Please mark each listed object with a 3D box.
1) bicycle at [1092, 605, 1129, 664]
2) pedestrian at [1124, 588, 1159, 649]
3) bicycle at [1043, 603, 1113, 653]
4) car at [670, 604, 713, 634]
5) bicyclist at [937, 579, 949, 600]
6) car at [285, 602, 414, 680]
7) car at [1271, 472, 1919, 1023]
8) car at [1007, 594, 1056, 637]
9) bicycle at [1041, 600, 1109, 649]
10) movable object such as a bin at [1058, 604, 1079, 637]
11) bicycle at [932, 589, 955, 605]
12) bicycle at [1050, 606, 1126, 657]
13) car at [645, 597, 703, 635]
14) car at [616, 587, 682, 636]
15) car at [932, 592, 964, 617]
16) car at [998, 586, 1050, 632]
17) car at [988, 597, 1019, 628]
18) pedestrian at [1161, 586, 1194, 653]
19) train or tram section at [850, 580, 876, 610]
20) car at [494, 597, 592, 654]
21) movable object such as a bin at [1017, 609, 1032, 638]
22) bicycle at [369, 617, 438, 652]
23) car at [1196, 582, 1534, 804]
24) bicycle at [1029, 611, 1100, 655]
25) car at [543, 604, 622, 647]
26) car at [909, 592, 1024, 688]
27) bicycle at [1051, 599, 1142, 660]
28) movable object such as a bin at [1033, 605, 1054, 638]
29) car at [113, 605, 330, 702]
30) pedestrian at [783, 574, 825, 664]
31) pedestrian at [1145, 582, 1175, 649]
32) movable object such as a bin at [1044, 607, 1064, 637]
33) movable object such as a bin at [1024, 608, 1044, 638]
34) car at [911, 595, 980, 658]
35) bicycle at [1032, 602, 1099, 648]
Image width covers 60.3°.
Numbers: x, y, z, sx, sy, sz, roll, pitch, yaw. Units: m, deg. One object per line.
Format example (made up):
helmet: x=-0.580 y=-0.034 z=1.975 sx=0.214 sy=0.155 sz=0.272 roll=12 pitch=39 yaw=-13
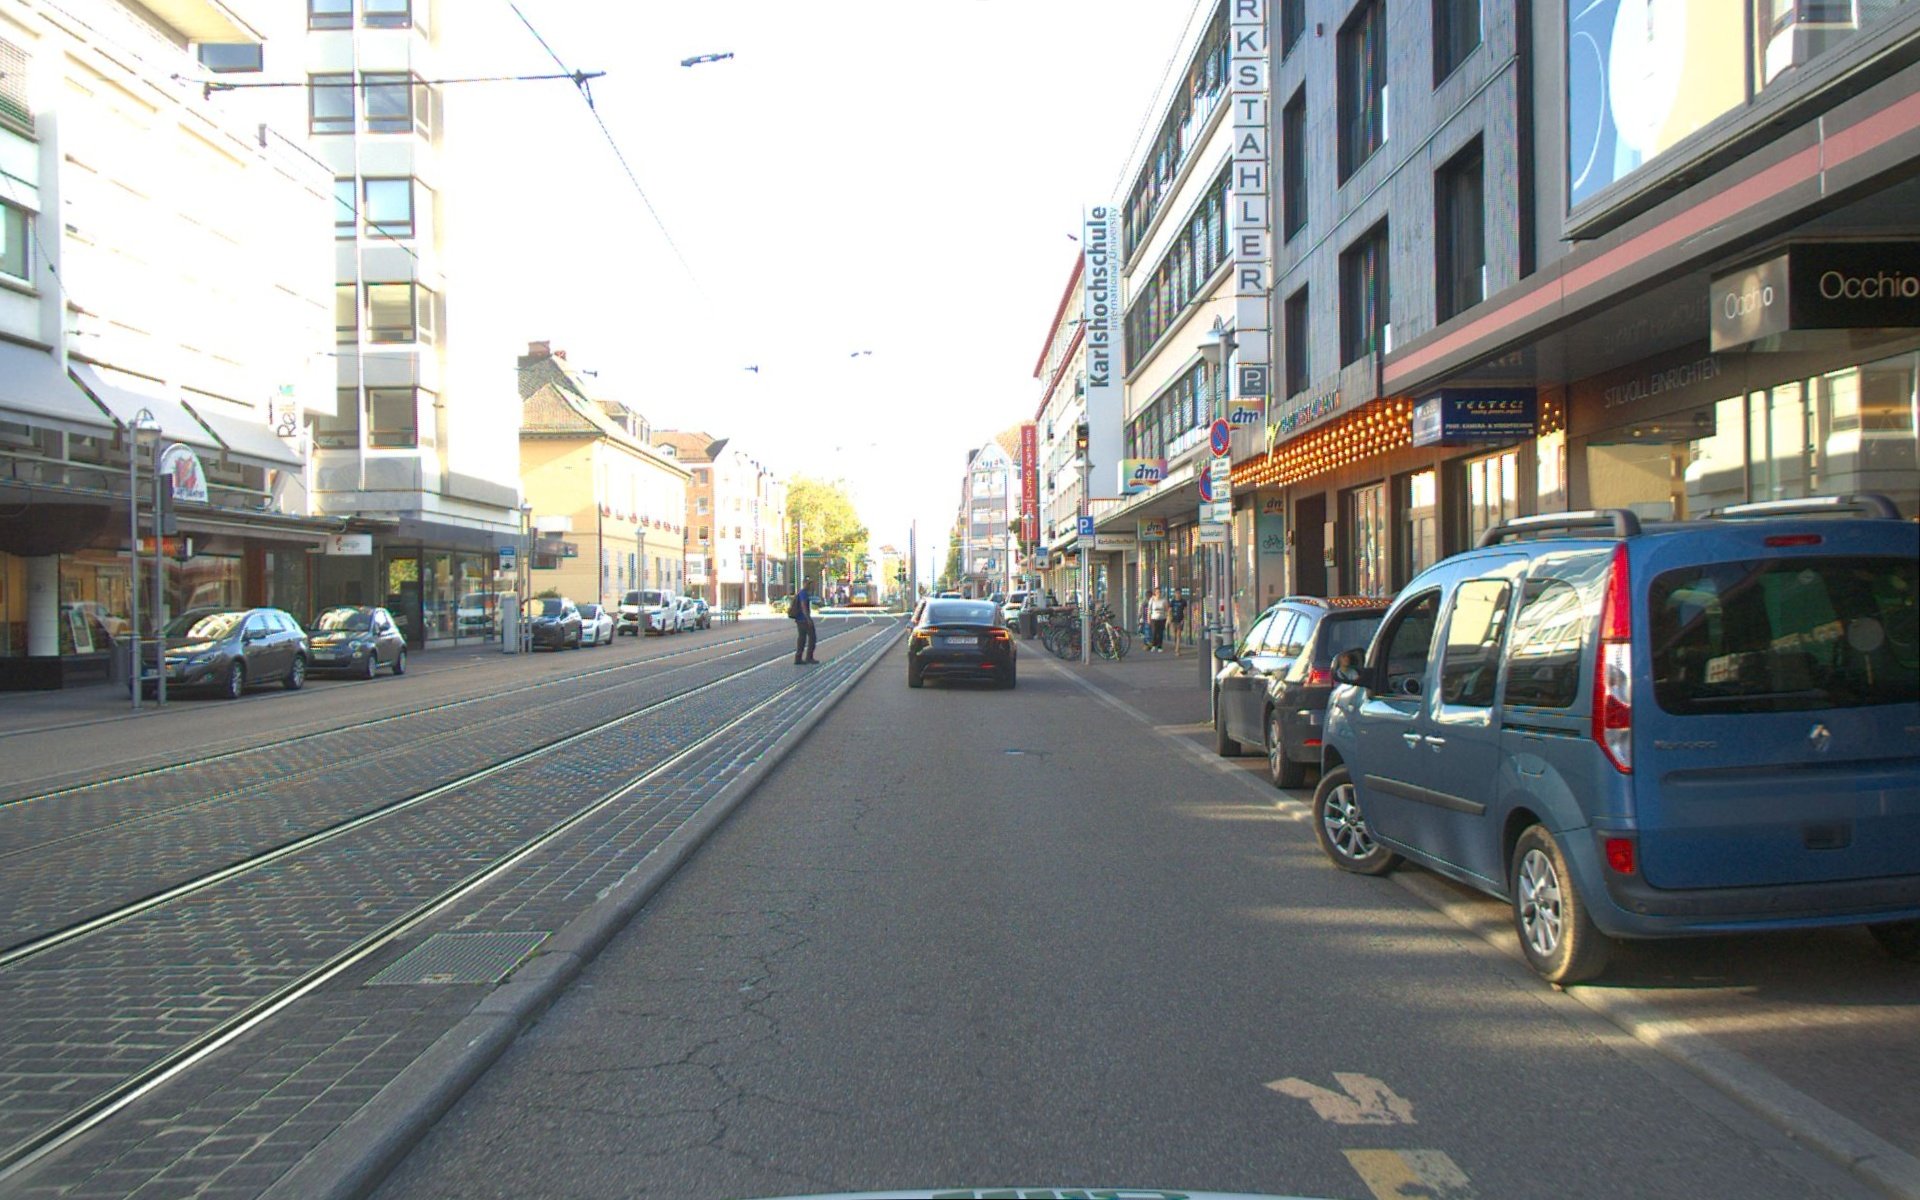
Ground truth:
bicycle: x=3.397 y=0.760 z=37.491 sx=0.570 sy=1.279 sz=1.601 roll=-3 pitch=0 yaw=-2
pedestrian: x=4.625 y=0.478 z=42.153 sx=0.576 sy=1.512 sz=0.591 roll=-3 pitch=0 yaw=-32
bicycle: x=3.069 y=0.730 z=43.247 sx=1.751 sy=1.238 sz=0.587 roll=-2 pitch=0 yaw=-2
car: x=-13.430 y=0.919 z=82.901 sx=1.581 sy=1.425 sz=3.719 roll=1 pitch=0 yaw=-1
bicyclist: x=-1.320 y=-0.785 z=125.672 sx=0.820 sy=1.526 sz=0.559 roll=1 pitch=-1 yaw=-8
car: x=-12.983 y=0.845 z=35.377 sx=1.569 sy=1.550 sz=3.587 roll=1 pitch=0 yaw=-3
car: x=3.011 y=0.510 z=8.098 sx=1.780 sy=1.892 sz=4.546 roll=-2 pitch=0 yaw=-4
car: x=2.751 y=0.599 z=64.364 sx=1.581 sy=1.555 sz=4.069 roll=-2 pitch=0 yaw=-1
bicycle: x=3.064 y=0.646 z=44.167 sx=1.751 sy=1.238 sz=0.669 roll=-2 pitch=0 yaw=-2
movable object such as a bin: x=3.724 y=0.698 z=57.054 sx=0.676 sy=1.108 sz=0.666 roll=-2 pitch=0 yaw=2
bicycle: x=-1.267 y=-0.224 z=125.691 sx=1.696 sy=1.107 sz=0.677 roll=1 pitch=0 yaw=-9
bicycle: x=3.065 y=0.758 z=39.564 sx=1.739 sy=1.150 sz=0.478 roll=-2 pitch=0 yaw=-6
car: x=-13.516 y=0.734 z=78.300 sx=1.770 sy=1.715 sz=4.649 roll=1 pitch=0 yaw=2
car: x=-13.496 y=0.486 z=72.004 sx=1.953 sy=2.010 sz=5.095 roll=1 pitch=0 yaw=-1
car: x=-0.760 y=0.282 z=104.691 sx=1.748 sy=1.545 sz=4.215 roll=1 pitch=0 yaw=-4
car: x=2.621 y=0.357 z=69.169 sx=1.812 sy=1.754 sz=5.191 roll=-3 pitch=0 yaw=-1
car: x=2.529 y=0.718 z=96.972 sx=1.709 sy=1.660 sz=3.649 roll=-2 pitch=0 yaw=0
pedestrian: x=5.064 y=0.462 z=38.477 sx=0.571 sy=1.519 sz=0.524 roll=-3 pitch=0 yaw=-9
train or tram section: x=-12.662 y=-0.599 z=216.925 sx=2.619 sy=3.780 sz=14.191 roll=1 pitch=0 yaw=0
car: x=-13.302 y=0.782 z=53.066 sx=1.938 sy=1.708 sz=4.654 roll=1 pitch=0 yaw=0
movable object such as a bin: x=2.235 y=0.824 z=57.172 sx=0.477 sy=0.975 sz=0.458 roll=-2 pitch=0 yaw=2
bicycle: x=-16.630 y=1.030 z=49.449 sx=1.896 sy=1.016 sz=0.380 roll=1 pitch=-1 yaw=0
car: x=3.234 y=0.674 z=14.111 sx=1.686 sy=1.510 sz=4.415 roll=-3 pitch=0 yaw=-1
bicycle: x=2.640 y=0.836 z=41.837 sx=1.737 sy=1.050 sz=0.596 roll=-2 pitch=0 yaw=-2
car: x=-13.387 y=0.869 z=58.879 sx=1.850 sy=1.446 sz=4.654 roll=1 pitch=0 yaw=-2
car: x=0.053 y=0.649 z=28.266 sx=1.811 sy=1.510 sz=3.786 roll=1 pitch=0 yaw=-2
bicycle: x=3.191 y=0.681 z=38.774 sx=2.000 sy=1.296 sz=0.523 roll=-4 pitch=0 yaw=-11
movable object such as a bin: x=2.885 y=0.740 z=57.093 sx=0.676 sy=1.108 sz=0.686 roll=-2 pitch=0 yaw=2
car: x=-13.092 y=0.889 z=29.681 sx=1.701 sy=1.550 sz=4.851 roll=1 pitch=0 yaw=0
pedestrian: x=-3.329 y=0.406 z=35.376 sx=0.788 sy=1.869 sz=0.746 roll=-2 pitch=0 yaw=-2
pedestrian: x=4.936 y=0.370 z=40.785 sx=0.570 sy=1.613 sz=0.597 roll=-3 pitch=0 yaw=-3
movable object such as a bin: x=3.275 y=0.760 z=57.800 sx=0.644 sy=1.032 sz=0.636 roll=-1 pitch=0 yaw=2
movable object such as a bin: x=2.591 y=0.796 z=57.861 sx=0.672 sy=1.032 sz=0.508 roll=-1 pitch=0 yaw=2
car: x=-0.345 y=0.631 z=41.783 sx=1.619 sy=1.443 sz=4.000 roll=1 pitch=1 yaw=0
bicycle: x=2.877 y=0.681 z=45.310 sx=1.751 sy=1.179 sz=0.669 roll=-2 pitch=0 yaw=-2
